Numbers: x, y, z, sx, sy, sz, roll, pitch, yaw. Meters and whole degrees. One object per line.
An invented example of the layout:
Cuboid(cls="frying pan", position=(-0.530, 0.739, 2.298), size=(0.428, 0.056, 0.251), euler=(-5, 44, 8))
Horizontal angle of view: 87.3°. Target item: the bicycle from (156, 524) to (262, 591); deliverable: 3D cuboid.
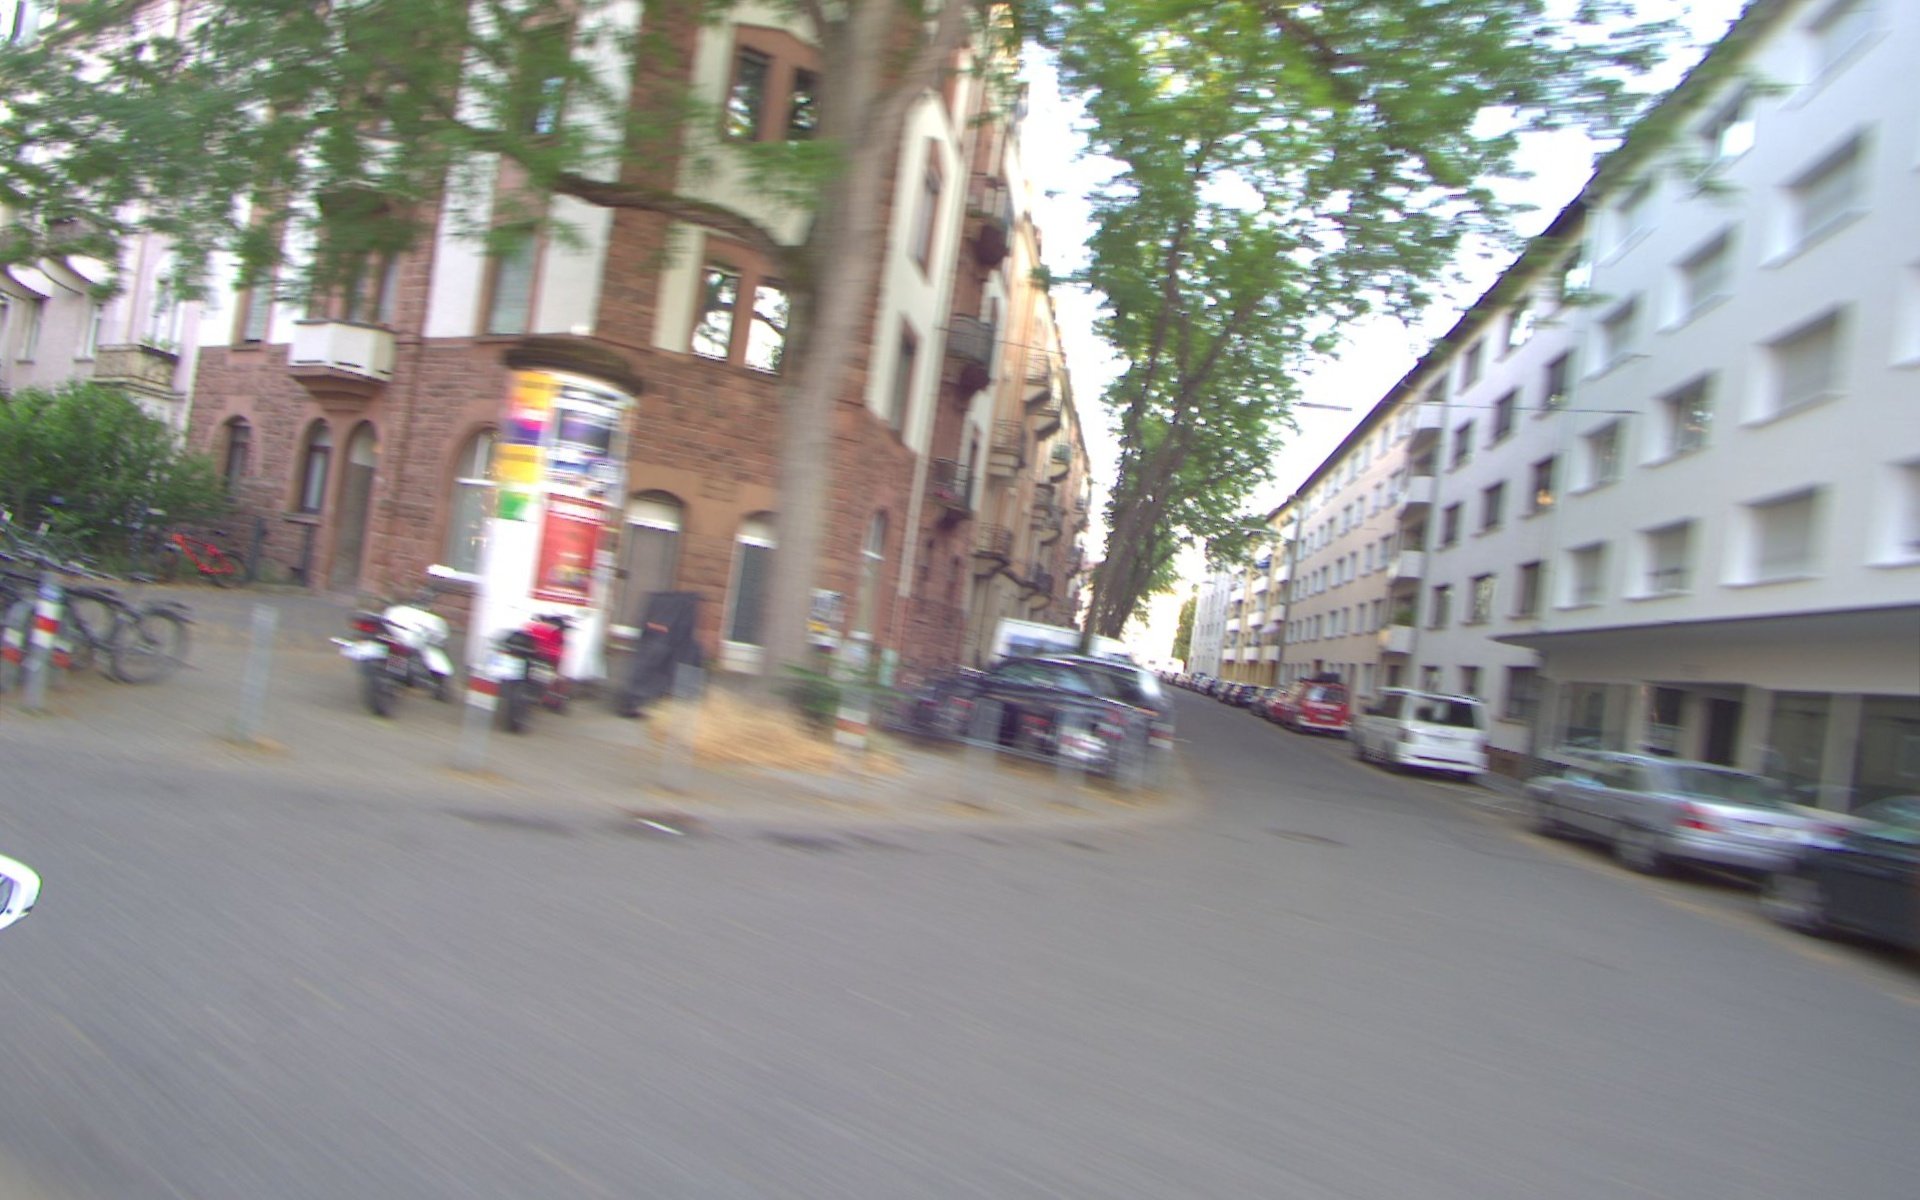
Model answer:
Cuboid(cls="bicycle", position=(-14.236, -0.788, 19.112), size=(0.325, 1.046, 1.513), euler=(9, 0, 29))

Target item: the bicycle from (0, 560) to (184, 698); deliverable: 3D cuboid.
Cuboid(cls="bicycle", position=(-6.964, 0.251, 7.918), size=(0.325, 0.999, 1.226), euler=(9, 0, 30))

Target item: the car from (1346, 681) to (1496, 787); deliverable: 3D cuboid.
Cuboid(cls="car", position=(11.098, 3.149, 24.588), size=(1.872, 2.041, 4.484), euler=(7, -3, 8))

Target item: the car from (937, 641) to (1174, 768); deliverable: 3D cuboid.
Cuboid(cls="car", position=(1.790, 1.849, 18.322), size=(3.924, 1.571, 1.828), euler=(8, -2, 14))

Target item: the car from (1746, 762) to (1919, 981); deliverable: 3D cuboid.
Cuboid(cls="car", position=(8.349, 2.336, 7.900), size=(1.595, 1.524, 3.904), euler=(9, -3, 10))

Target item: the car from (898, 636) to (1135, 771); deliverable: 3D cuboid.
Cuboid(cls="car", position=(0.949, 1.606, 16.012), size=(3.368, 1.494, 1.684), euler=(8, -2, 14))

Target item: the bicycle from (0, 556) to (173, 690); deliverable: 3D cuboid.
Cuboid(cls="bicycle", position=(-7.230, 0.204, 8.157), size=(0.324, 1.000, 1.227), euler=(9, 0, 27))

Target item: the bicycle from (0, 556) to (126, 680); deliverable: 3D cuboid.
Cuboid(cls="bicycle", position=(-7.756, 0.153, 8.345), size=(0.324, 0.974, 1.229), euler=(9, -1, 14))

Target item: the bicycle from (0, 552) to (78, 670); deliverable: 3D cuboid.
Cuboid(cls="bicycle", position=(-8.180, 0.083, 8.379), size=(0.324, 0.968, 1.229), euler=(9, -1, 9))

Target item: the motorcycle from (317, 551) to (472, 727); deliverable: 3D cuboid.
Cuboid(cls="motorcycle", position=(-5.319, 0.311, 9.619), size=(0.576, 1.424, 2.205), euler=(9, -1, -15))

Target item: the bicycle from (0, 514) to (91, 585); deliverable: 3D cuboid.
Cuboid(cls="bicycle", position=(-15.850, -0.864, 17.114), size=(0.325, 1.046, 1.513), euler=(9, 0, 29))

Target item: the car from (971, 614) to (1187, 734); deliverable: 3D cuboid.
Cuboid(cls="car", position=(3.276, 1.995, 27.599), size=(5.415, 2.329, 2.003), euler=(8, -1, 10))

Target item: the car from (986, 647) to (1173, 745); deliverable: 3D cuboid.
Cuboid(cls="car", position=(2.788, 2.186, 23.075), size=(3.924, 1.534, 1.861), euler=(8, -3, 13))

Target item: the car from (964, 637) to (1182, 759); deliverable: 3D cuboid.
Cuboid(cls="car", position=(2.359, 1.968, 20.712), size=(4.065, 1.740, 1.779), euler=(8, -1, 14))

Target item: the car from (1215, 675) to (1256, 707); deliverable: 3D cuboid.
Cuboid(cls="car", position=(17.951, 5.922, 65.702), size=(1.872, 1.763, 4.014), euler=(7, -3, 9))

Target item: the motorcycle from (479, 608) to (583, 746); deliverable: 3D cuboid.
Cuboid(cls="motorcycle", position=(-4.144, 0.683, 9.861), size=(0.431, 1.092, 2.206), euler=(9, -1, -14))

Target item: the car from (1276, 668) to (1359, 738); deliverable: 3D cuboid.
Cuboid(cls="car", position=(13.424, 3.840, 38.044), size=(1.872, 2.224, 4.484), euler=(7, -3, 9))

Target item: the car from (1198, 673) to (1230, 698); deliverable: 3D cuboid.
Cuboid(cls="car", position=(20.438, 6.858, 81.097), size=(1.872, 1.763, 4.014), euler=(7, -3, 9))

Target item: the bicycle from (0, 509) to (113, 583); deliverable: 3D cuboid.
Cuboid(cls="bicycle", position=(-15.366, -0.906, 16.983), size=(0.325, 1.046, 1.513), euler=(9, 0, 29))

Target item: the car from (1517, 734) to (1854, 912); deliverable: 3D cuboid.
Cuboid(cls="car", position=(9.127, 2.719, 13.161), size=(1.625, 1.444, 4.242), euler=(8, -3, 8))

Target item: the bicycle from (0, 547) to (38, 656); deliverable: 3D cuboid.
Cuboid(cls="bicycle", position=(-8.799, -0.014, 8.670), size=(0.324, 0.959, 1.229), euler=(9, -1, 9))

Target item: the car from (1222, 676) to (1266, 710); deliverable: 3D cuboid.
Cuboid(cls="car", position=(17.078, 5.566, 60.600), size=(1.872, 1.763, 4.014), euler=(7, -3, 9))

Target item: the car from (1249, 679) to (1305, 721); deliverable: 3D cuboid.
Cuboid(cls="car", position=(15.635, 4.908, 49.850), size=(1.872, 1.763, 4.014), euler=(7, -3, 9))

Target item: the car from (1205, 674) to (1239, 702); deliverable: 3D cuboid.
Cuboid(cls="car", position=(19.658, 6.588, 75.601), size=(1.872, 1.763, 4.014), euler=(7, -3, 9))

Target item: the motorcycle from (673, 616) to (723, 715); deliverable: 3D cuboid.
Cuboid(cls="motorcycle", position=(-3.467, 0.821, 13.390), size=(0.431, 1.092, 2.104), euler=(9, -1, -14))

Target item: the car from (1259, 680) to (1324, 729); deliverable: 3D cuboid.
Cuboid(cls="car", position=(14.472, 4.547, 44.086), size=(1.872, 1.763, 4.014), euler=(7, -3, 9))
